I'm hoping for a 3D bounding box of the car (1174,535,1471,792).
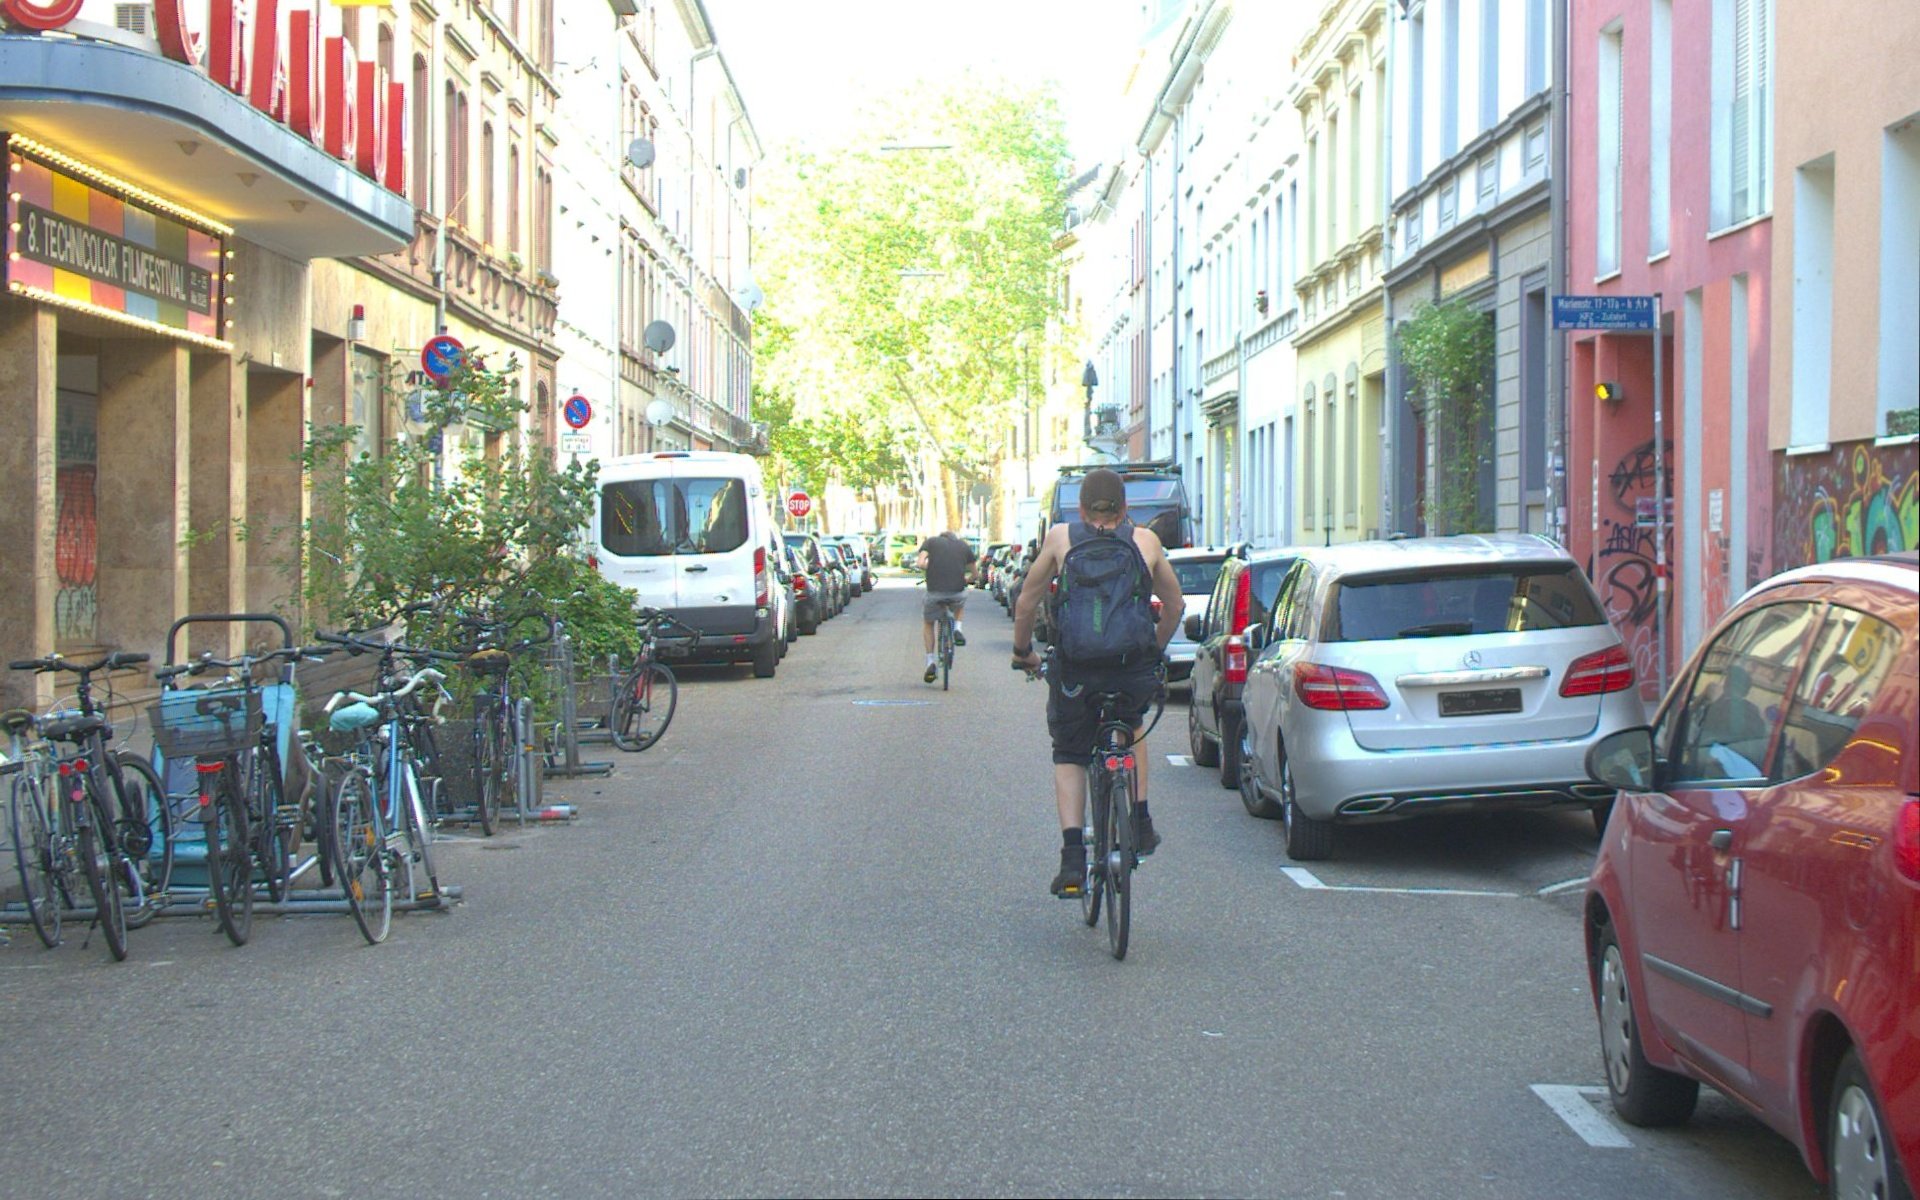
[{"bbox_3d":[2.361,0.365,23.098,1.602,1.534,3.450,-2,1,1],"label":"car"}]

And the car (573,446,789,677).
[{"bbox_3d":[-3.161,-0.477,40.119,2.168,2.443,5.922,-1,1,-2],"label":"car"}]

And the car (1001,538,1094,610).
[{"bbox_3d":[1.801,-0.560,71.577,1.725,1.424,3.833,0,1,-2],"label":"car"}]

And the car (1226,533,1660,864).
[{"bbox_3d":[2.436,0.423,18.283,1.746,1.550,4.171,0,1,1],"label":"car"}]

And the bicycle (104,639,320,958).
[{"bbox_3d":[-2.922,0.739,13.566,0.443,1.102,1.932,1,1,-1],"label":"bicycle"}]

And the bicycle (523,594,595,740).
[{"bbox_3d":[-3.101,0.499,26.669,0.442,1.044,1.865,2,1,-4],"label":"bicycle"}]

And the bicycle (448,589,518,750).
[{"bbox_3d":[-3.688,0.518,26.639,0.399,1.169,1.670,2,1,-4],"label":"bicycle"}]

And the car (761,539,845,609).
[{"bbox_3d":[-3.330,-0.568,73.468,1.592,1.435,3.654,0,1,0],"label":"car"}]

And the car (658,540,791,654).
[{"bbox_3d":[-3.127,-0.075,46.182,1.645,1.442,3.840,0,1,-2],"label":"car"}]

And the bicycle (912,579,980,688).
[{"bbox_3d":[-0.146,0.321,34.658,0.664,1.034,1.959,0,1,0],"label":"bicycle"}]

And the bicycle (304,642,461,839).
[{"bbox_3d":[-3.021,0.719,18.095,0.554,0.941,1.572,0,1,0],"label":"bicycle"}]

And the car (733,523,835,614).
[{"bbox_3d":[-3.478,-0.636,68.488,1.801,1.692,4.000,-2,1,0],"label":"car"}]

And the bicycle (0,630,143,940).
[{"bbox_3d":[-3.670,0.700,13.681,0.443,1.102,1.698,1,1,-1],"label":"bicycle"}]

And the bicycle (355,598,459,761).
[{"bbox_3d":[-3.757,0.524,23.416,0.573,1.042,1.410,1,1,-5],"label":"bicycle"}]

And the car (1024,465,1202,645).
[{"bbox_3d":[2.162,-0.680,50.277,2.175,2.417,6.310,-1,1,-1],"label":"car"}]

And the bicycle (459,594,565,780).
[{"bbox_3d":[-2.861,0.534,22.073,0.546,1.090,1.882,2,1,-4],"label":"bicycle"}]

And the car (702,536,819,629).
[{"bbox_3d":[-3.301,-0.319,57.469,1.862,1.435,4.646,0,2,-2],"label":"car"}]

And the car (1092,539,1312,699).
[{"bbox_3d":[2.403,0.141,35.159,1.786,1.449,4.547,-3,1,-1],"label":"car"}]

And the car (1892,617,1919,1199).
[{"bbox_3d":[2.406,0.775,3.416,1.688,1.448,4.194,-1,1,-2],"label":"car"}]

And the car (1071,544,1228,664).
[{"bbox_3d":[2.383,0.014,44.056,1.747,1.439,4.172,1,1,0],"label":"car"}]

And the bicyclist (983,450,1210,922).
[{"bbox_3d":[0.494,0.299,12.883,0.740,1.673,1.117,2,1,-1],"label":"bicyclist"}]

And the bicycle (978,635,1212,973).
[{"bbox_3d":[0.476,0.720,12.967,0.740,1.097,2.042,2,1,-1],"label":"bicycle"}]

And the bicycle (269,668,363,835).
[{"bbox_3d":[-3.486,0.806,18.648,0.256,0.814,1.299,1,1,0],"label":"bicycle"}]

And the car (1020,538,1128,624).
[{"bbox_3d":[2.006,-0.370,61.607,1.746,1.480,4.243,0,1,-1],"label":"car"}]

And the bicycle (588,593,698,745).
[{"bbox_3d":[-2.374,0.495,25.605,0.460,1.044,1.751,1,1,-16],"label":"bicycle"}]

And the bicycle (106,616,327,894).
[{"bbox_3d":[-3.293,0.671,15.292,0.812,1.171,0.920,1,1,-3],"label":"bicycle"}]

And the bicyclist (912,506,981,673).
[{"bbox_3d":[-0.138,-0.115,34.499,0.669,1.653,0.877,0,1,0],"label":"bicyclist"}]

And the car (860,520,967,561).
[{"bbox_3d":[-1.999,-2.557,147.449,4.468,1.753,1.867,0,1,-4],"label":"car"}]

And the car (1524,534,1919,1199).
[{"bbox_3d":[2.495,0.612,8.073,1.697,1.518,3.980,-1,1,1],"label":"car"}]

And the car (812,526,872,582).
[{"bbox_3d":[-3.695,-1.450,108.035,1.787,1.731,3.876,0,1,-1],"label":"car"}]

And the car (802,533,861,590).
[{"bbox_3d":[-3.596,-1.079,95.836,1.544,1.545,3.466,0,1,-3],"label":"car"}]

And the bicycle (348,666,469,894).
[{"bbox_3d":[-2.427,0.775,15.201,0.321,0.913,1.290,0,1,0],"label":"bicycle"}]

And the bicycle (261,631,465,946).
[{"bbox_3d":[-2.335,0.704,13.602,0.499,1.102,1.830,1,1,-1],"label":"bicycle"}]

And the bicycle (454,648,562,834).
[{"bbox_3d":[-2.417,0.736,18.447,0.390,0.913,1.393,0,1,0],"label":"bicycle"}]

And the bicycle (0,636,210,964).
[{"bbox_3d":[-3.268,0.719,13.125,0.443,1.102,1.874,1,1,-2],"label":"bicycle"}]

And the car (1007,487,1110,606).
[{"bbox_3d":[2.205,-1.200,76.875,2.204,2.542,6.036,0,1,2],"label":"car"}]

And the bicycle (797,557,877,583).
[{"bbox_3d":[-4.209,-1.024,117.530,2.715,0.889,0.619,0,1,-3],"label":"bicycle"}]
